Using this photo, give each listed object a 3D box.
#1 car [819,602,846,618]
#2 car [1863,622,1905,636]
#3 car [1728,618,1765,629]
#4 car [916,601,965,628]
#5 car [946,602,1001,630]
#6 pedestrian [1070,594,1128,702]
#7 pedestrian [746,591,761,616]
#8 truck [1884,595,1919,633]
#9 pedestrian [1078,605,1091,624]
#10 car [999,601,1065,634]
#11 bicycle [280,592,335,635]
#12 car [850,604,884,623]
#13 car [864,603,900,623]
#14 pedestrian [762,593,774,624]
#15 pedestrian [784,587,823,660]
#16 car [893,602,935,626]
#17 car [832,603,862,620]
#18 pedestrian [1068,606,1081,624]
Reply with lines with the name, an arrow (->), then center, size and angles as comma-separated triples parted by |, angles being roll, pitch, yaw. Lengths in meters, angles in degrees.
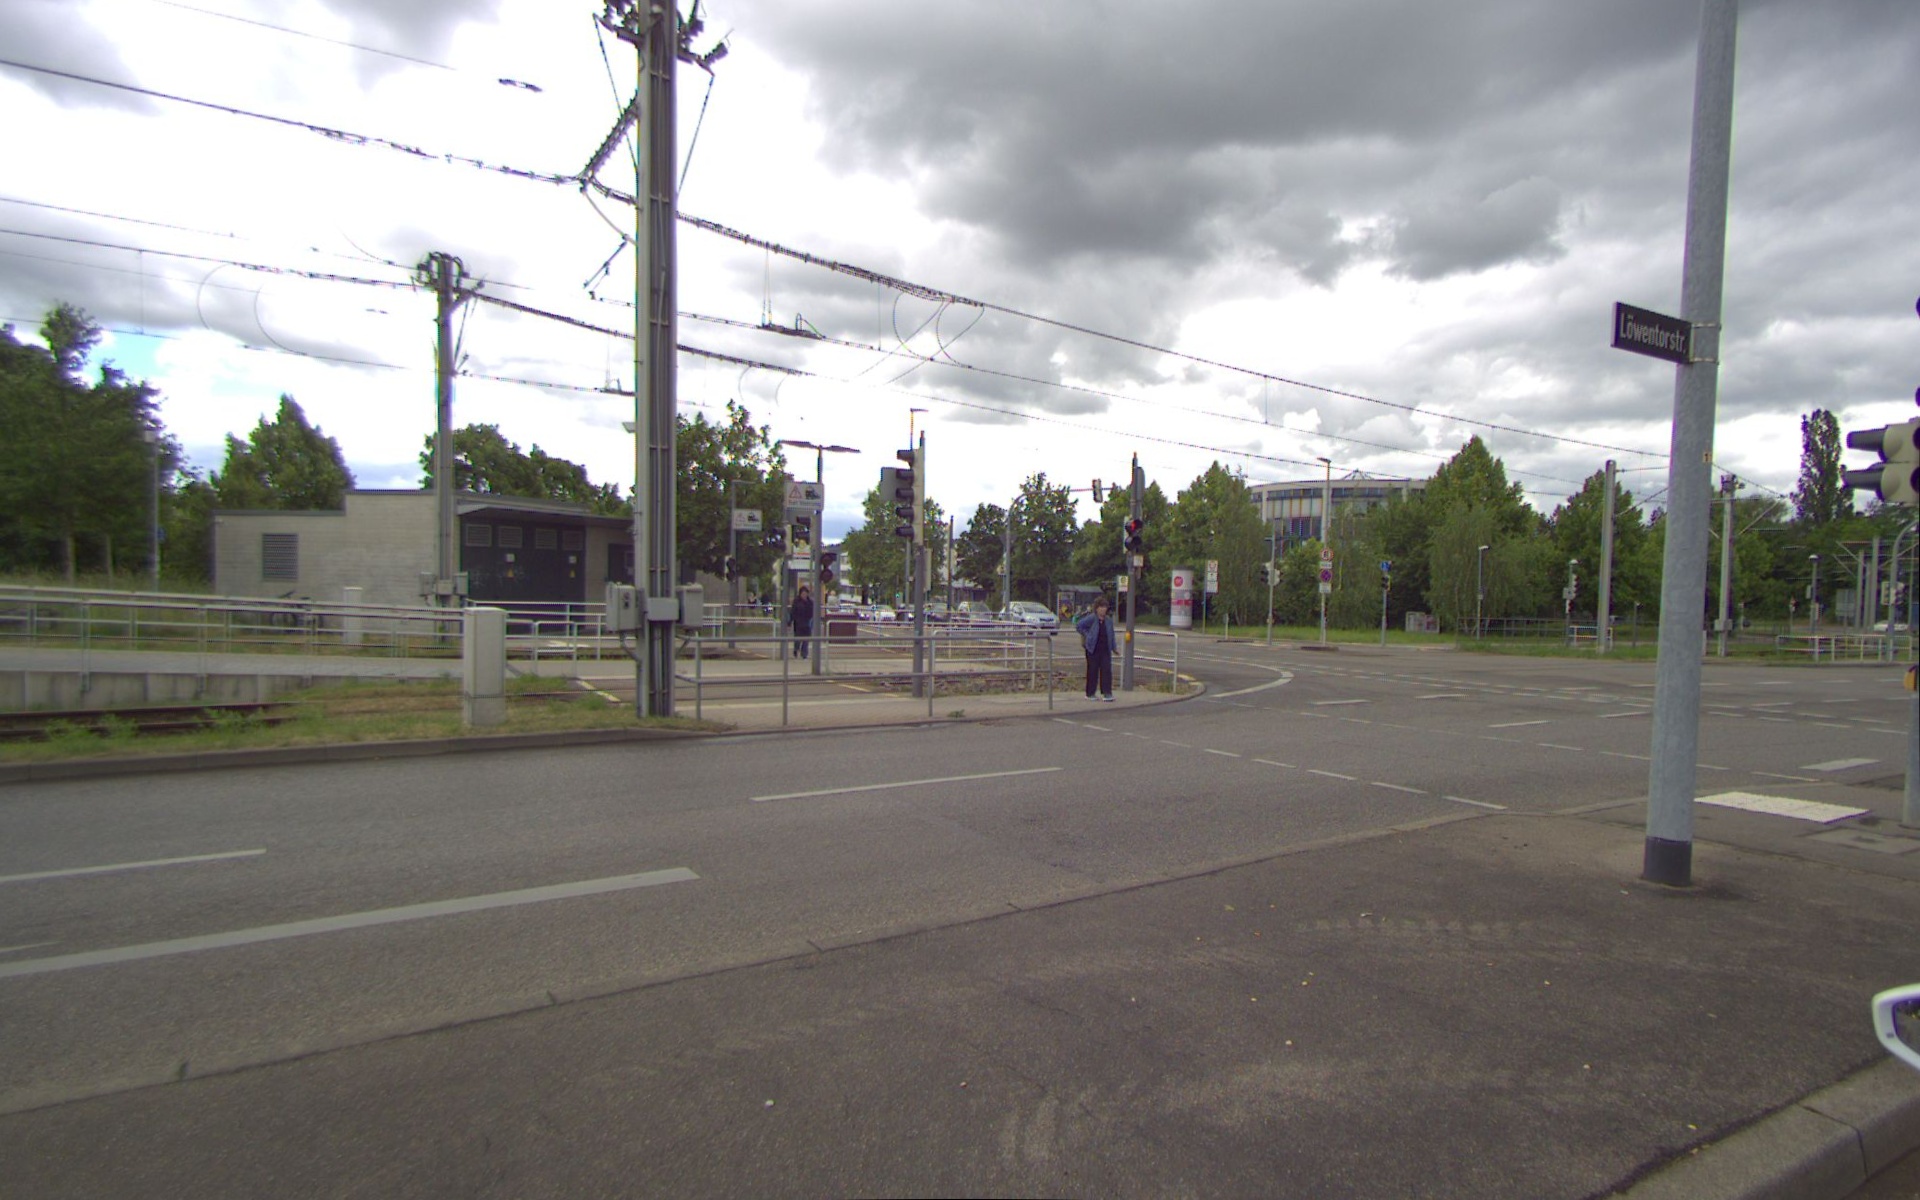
car -> -11.933, 0.963, 94.073 | 1.706, 1.456, 3.731 | 1, 0, -20
car -> 114.129, 3.587, 124.149 | 1.748, 1.567, 4.027 | 1, 0, 6
car -> 110.662, 3.263, 141.331 | 1.751, 1.465, 4.528 | -1, 0, 2
car -> -1.153, 0.817, 58.166 | 1.706, 1.456, 3.731 | 1, 0, -20
car -> 0.686, 0.845, 53.670 | 1.706, 1.456, 3.731 | 1, 0, -20
pedestrian -> 2.101, 0.704, 15.184 | 0.701, 1.584, 0.533 | 1, 1, -44
pedestrian -> -13.383, 0.218, 65.082 | 0.771, 1.649, 0.660 | 1, 0, -22
truck -> 96.276, 1.440, 99.472 | 3.000, 3.810, 12.805 | 2, 0, 24
pedestrian -> 8.894, 1.058, 71.637 | 0.652, 1.322, 0.780 | 1, 0, -16
car -> 3.298, 0.801, 46.810 | 1.706, 1.456, 3.731 | 1, 0, -20
bicycle -> -17.331, 0.348, 26.679 | 1.452, 1.101, 0.492 | 1, 0, 22
car -> -7.421, 1.024, 79.685 | 1.706, 1.456, 3.991 | 1, 0, -20
car -> -5.816, 0.964, 74.782 | 1.706, 1.456, 3.731 | 1, 0, -20
pedestrian -> -12.265, 0.541, 64.173 | 0.738, 1.993, 0.795 | 1, 0, -9
pedestrian -> -3.525, 0.522, 22.580 | 0.696, 1.628, 0.654 | 1, 0, -24
car -> -3.007, 0.889, 64.932 | 1.706, 1.456, 3.731 | 1, 0, -20
car -> -9.771, 0.988, 86.717 | 1.706, 1.456, 3.731 | 1, 0, -20
pedestrian -> 8.324, 1.081, 72.964 | 0.652, 1.321, 0.780 | 1, 0, -16
